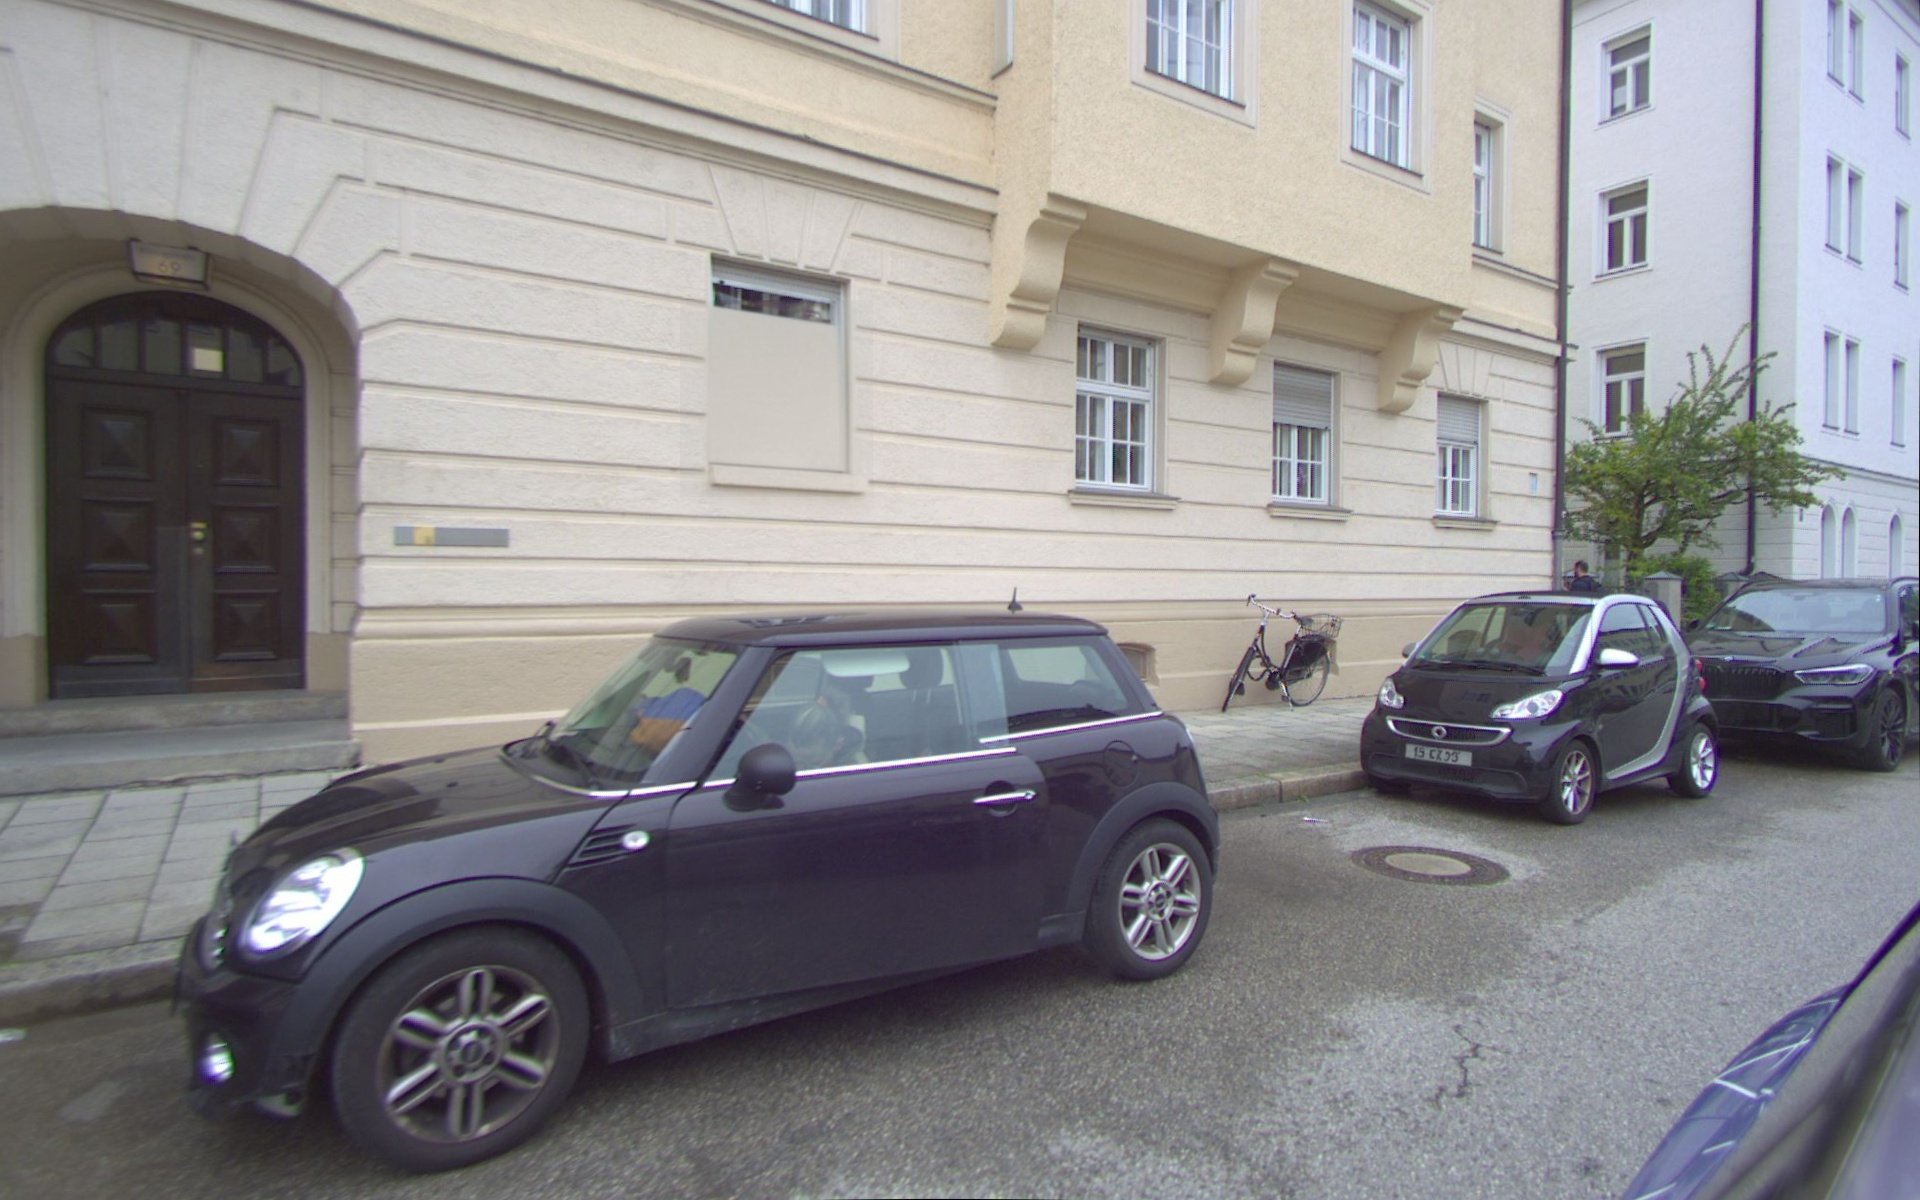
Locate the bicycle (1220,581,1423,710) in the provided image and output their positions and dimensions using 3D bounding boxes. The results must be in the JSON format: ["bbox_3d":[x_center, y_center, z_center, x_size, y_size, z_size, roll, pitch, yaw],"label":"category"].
[{"bbox_3d":[4.027,0.438,11.142,2.594,1.262,0.704,-1,1,-34],"label":"bicycle"}]

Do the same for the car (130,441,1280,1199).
[{"bbox_3d":[-0.729,0.508,3.943,3.658,1.752,1.843,-1,0,-33],"label":"car"}]

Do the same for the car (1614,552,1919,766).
[{"bbox_3d":[8.878,0.509,10.374,4.596,1.752,1.934,1,-1,-33],"label":"car"}]

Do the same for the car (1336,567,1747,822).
[{"bbox_3d":[4.424,0.570,7.675,2.806,1.576,1.513,-1,0,-31],"label":"car"}]

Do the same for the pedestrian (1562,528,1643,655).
[{"bbox_3d":[9.304,-0.122,14.673,0.680,1.783,0.686,-1,-1,-2],"label":"pedestrian"}]
